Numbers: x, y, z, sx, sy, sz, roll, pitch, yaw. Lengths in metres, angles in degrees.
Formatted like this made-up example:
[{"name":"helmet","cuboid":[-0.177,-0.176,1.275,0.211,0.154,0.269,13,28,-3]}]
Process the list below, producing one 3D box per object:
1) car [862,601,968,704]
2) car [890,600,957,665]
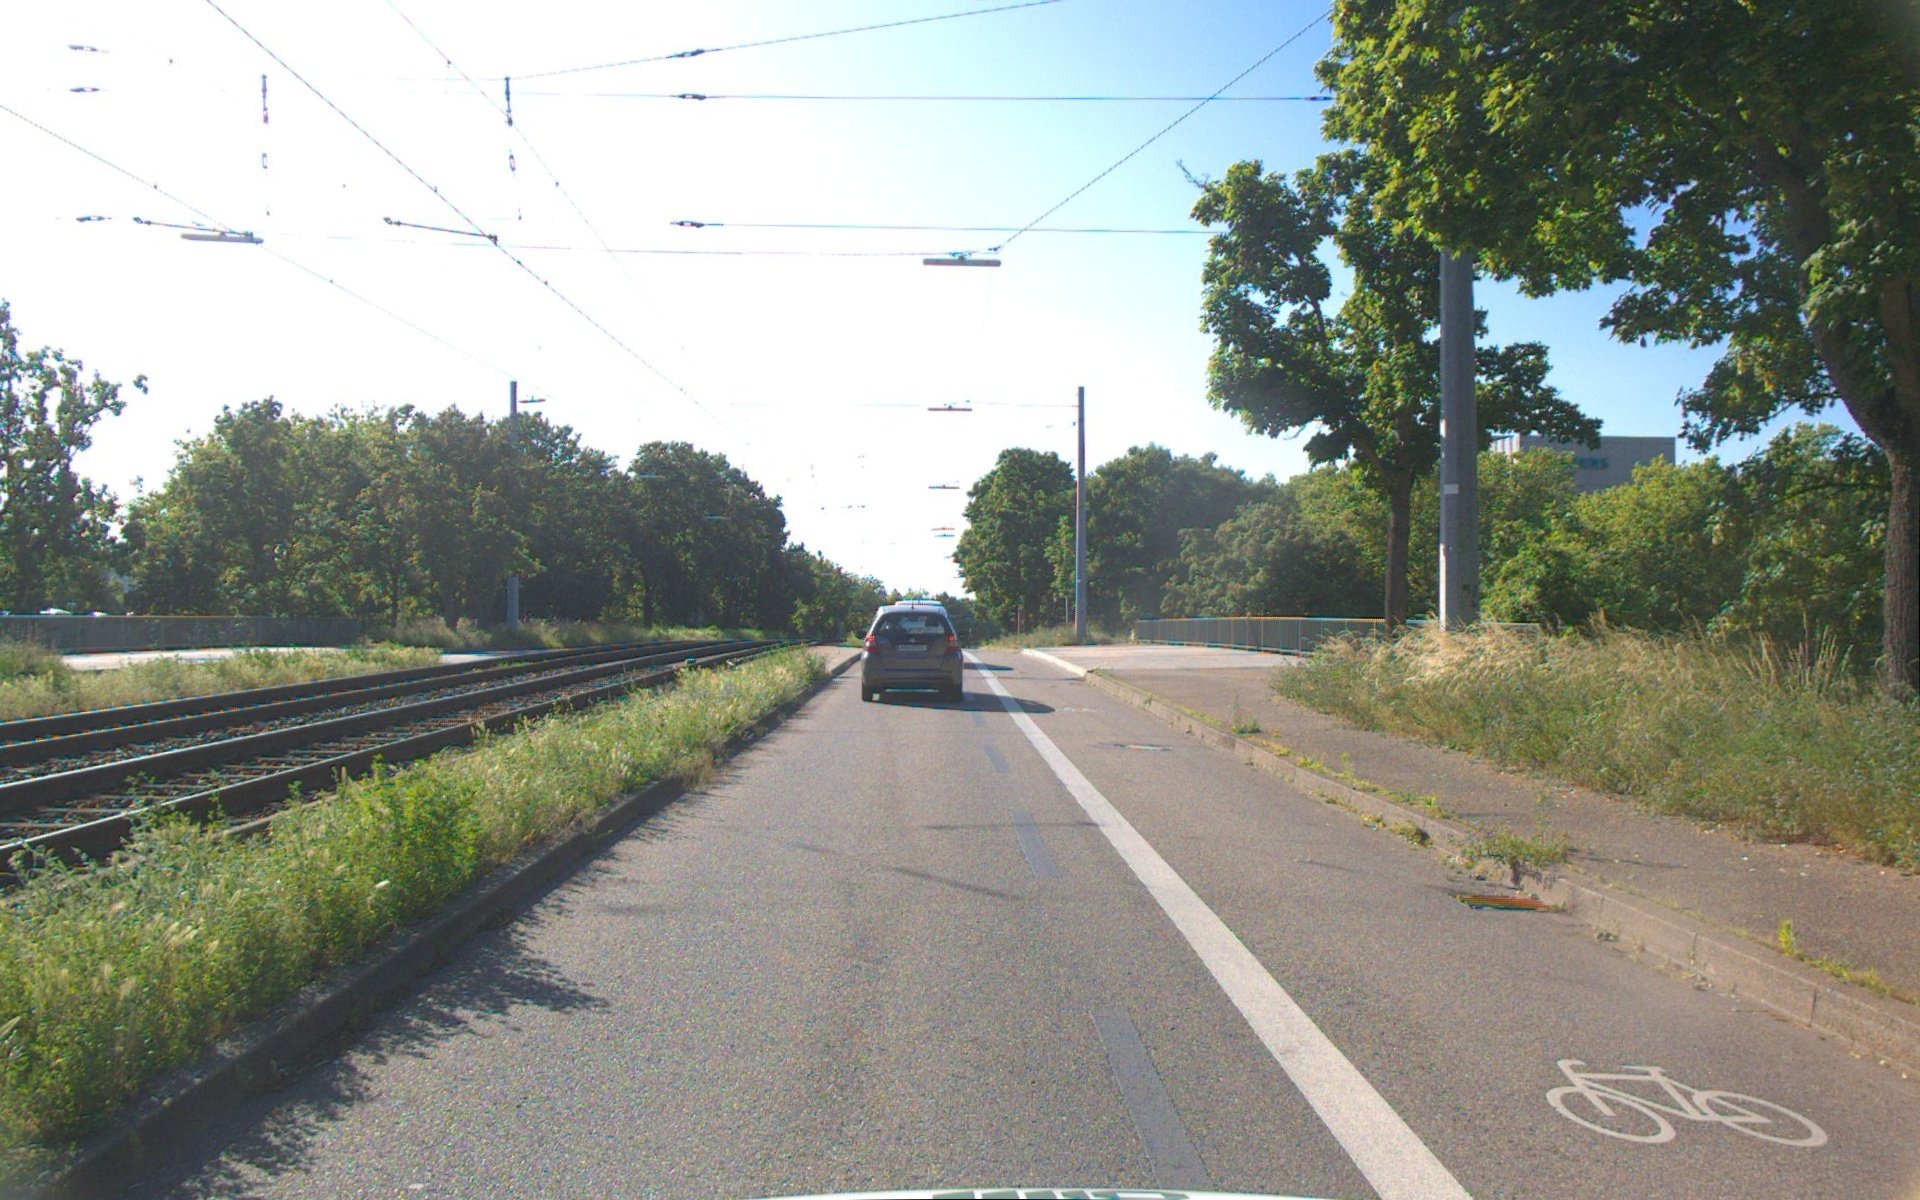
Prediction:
[{"name":"car","cuboid":[-0.741,0.827,27.836,1.636,1.534,3.810,1,0,-1]},{"name":"car","cuboid":[-0.916,0.804,42.725,1.621,1.534,3.811,1,0,0]}]
